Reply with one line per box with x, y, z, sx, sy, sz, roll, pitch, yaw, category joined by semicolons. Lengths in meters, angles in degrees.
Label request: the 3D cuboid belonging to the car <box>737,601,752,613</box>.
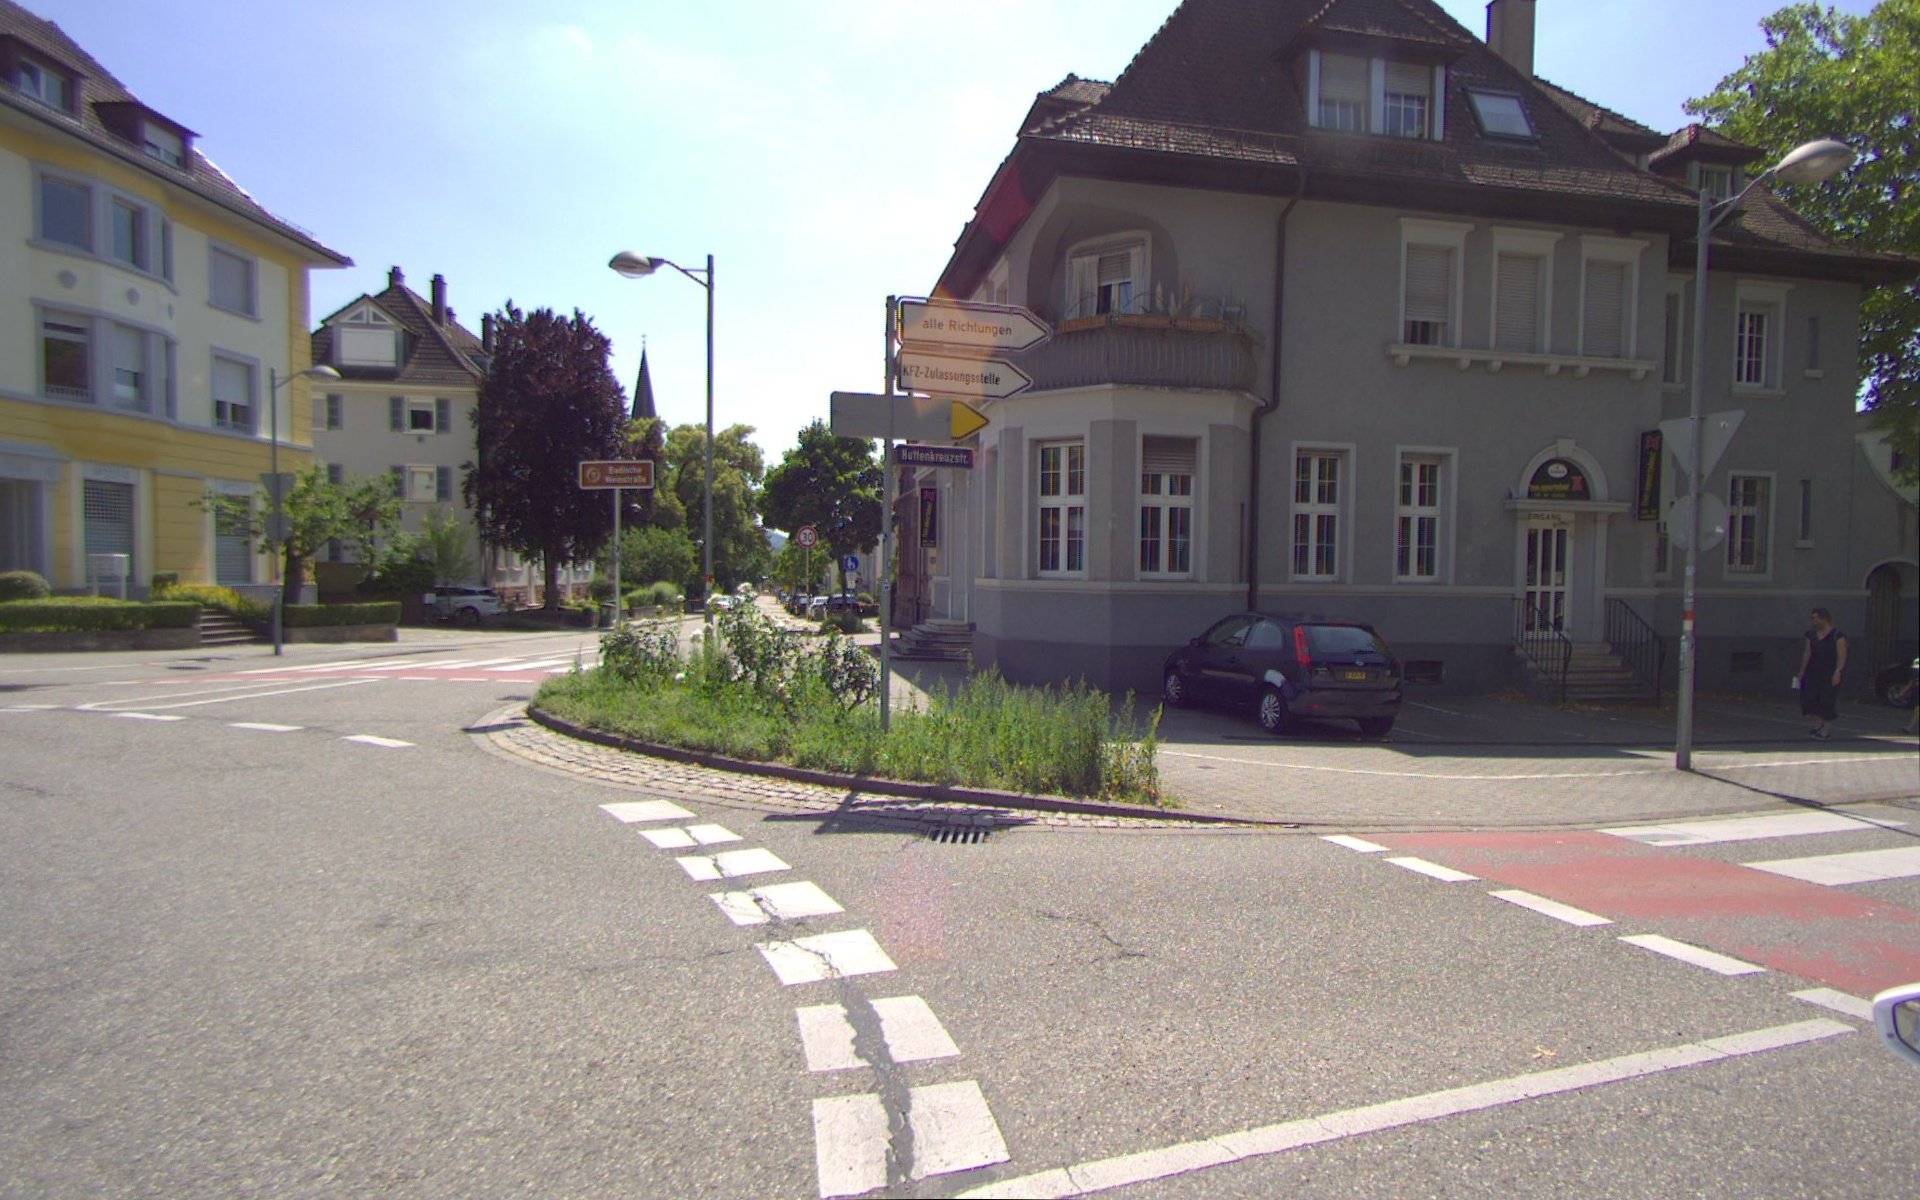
-28.410;0.941;132.627;1.778;1.472;3.992;2;0;-11;car

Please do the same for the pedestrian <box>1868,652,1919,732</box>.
14.467;1.386;15.174;0.884;1.137;0.753;2;0;-20;pedestrian

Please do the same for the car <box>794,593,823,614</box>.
-11.790;0.252;78.045;1.965;1.529;4.408;2;0;-12;car

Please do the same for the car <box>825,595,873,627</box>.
-5.709;0.528;51.333;1.965;1.529;4.408;2;0;-12;car

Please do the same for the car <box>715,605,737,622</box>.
-21.741;1.247;93.517;1.778;1.472;3.992;2;0;-11;car

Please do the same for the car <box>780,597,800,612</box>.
-18.499;0.482;109.091;1.965;1.529;4.408;2;0;-12;car

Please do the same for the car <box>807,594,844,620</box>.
-8.495;0.403;63.035;1.965;1.529;4.408;2;0;-12;car

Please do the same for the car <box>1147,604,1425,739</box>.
4.139;0.845;13.437;1.696;1.480;3.780;2;0;-16;car

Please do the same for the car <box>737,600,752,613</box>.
-27.132;0.838;126.621;1.778;1.472;3.992;2;0;-11;car

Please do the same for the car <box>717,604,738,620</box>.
-22.913;1.184;99.160;1.778;1.472;3.992;2;0;-11;car

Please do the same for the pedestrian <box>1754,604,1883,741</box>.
11.696;0.966;13.703;1.095;1.765;0.871;2;0;-20;pedestrian

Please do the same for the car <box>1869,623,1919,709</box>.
18.996;1.293;18.170;1.696;1.567;3.381;2;0;-16;car

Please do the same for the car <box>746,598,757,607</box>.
-35.452;0.463;170.612;1.778;1.472;3.992;2;0;-11;car

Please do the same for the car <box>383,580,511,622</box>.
-20.898;0.054;41.148;4.349;1.529;1.992;2;0;-18;car

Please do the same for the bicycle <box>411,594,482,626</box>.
-19.831;0.393;38.837;2.349;1.154;0.666;2;0;-16;bicycle
